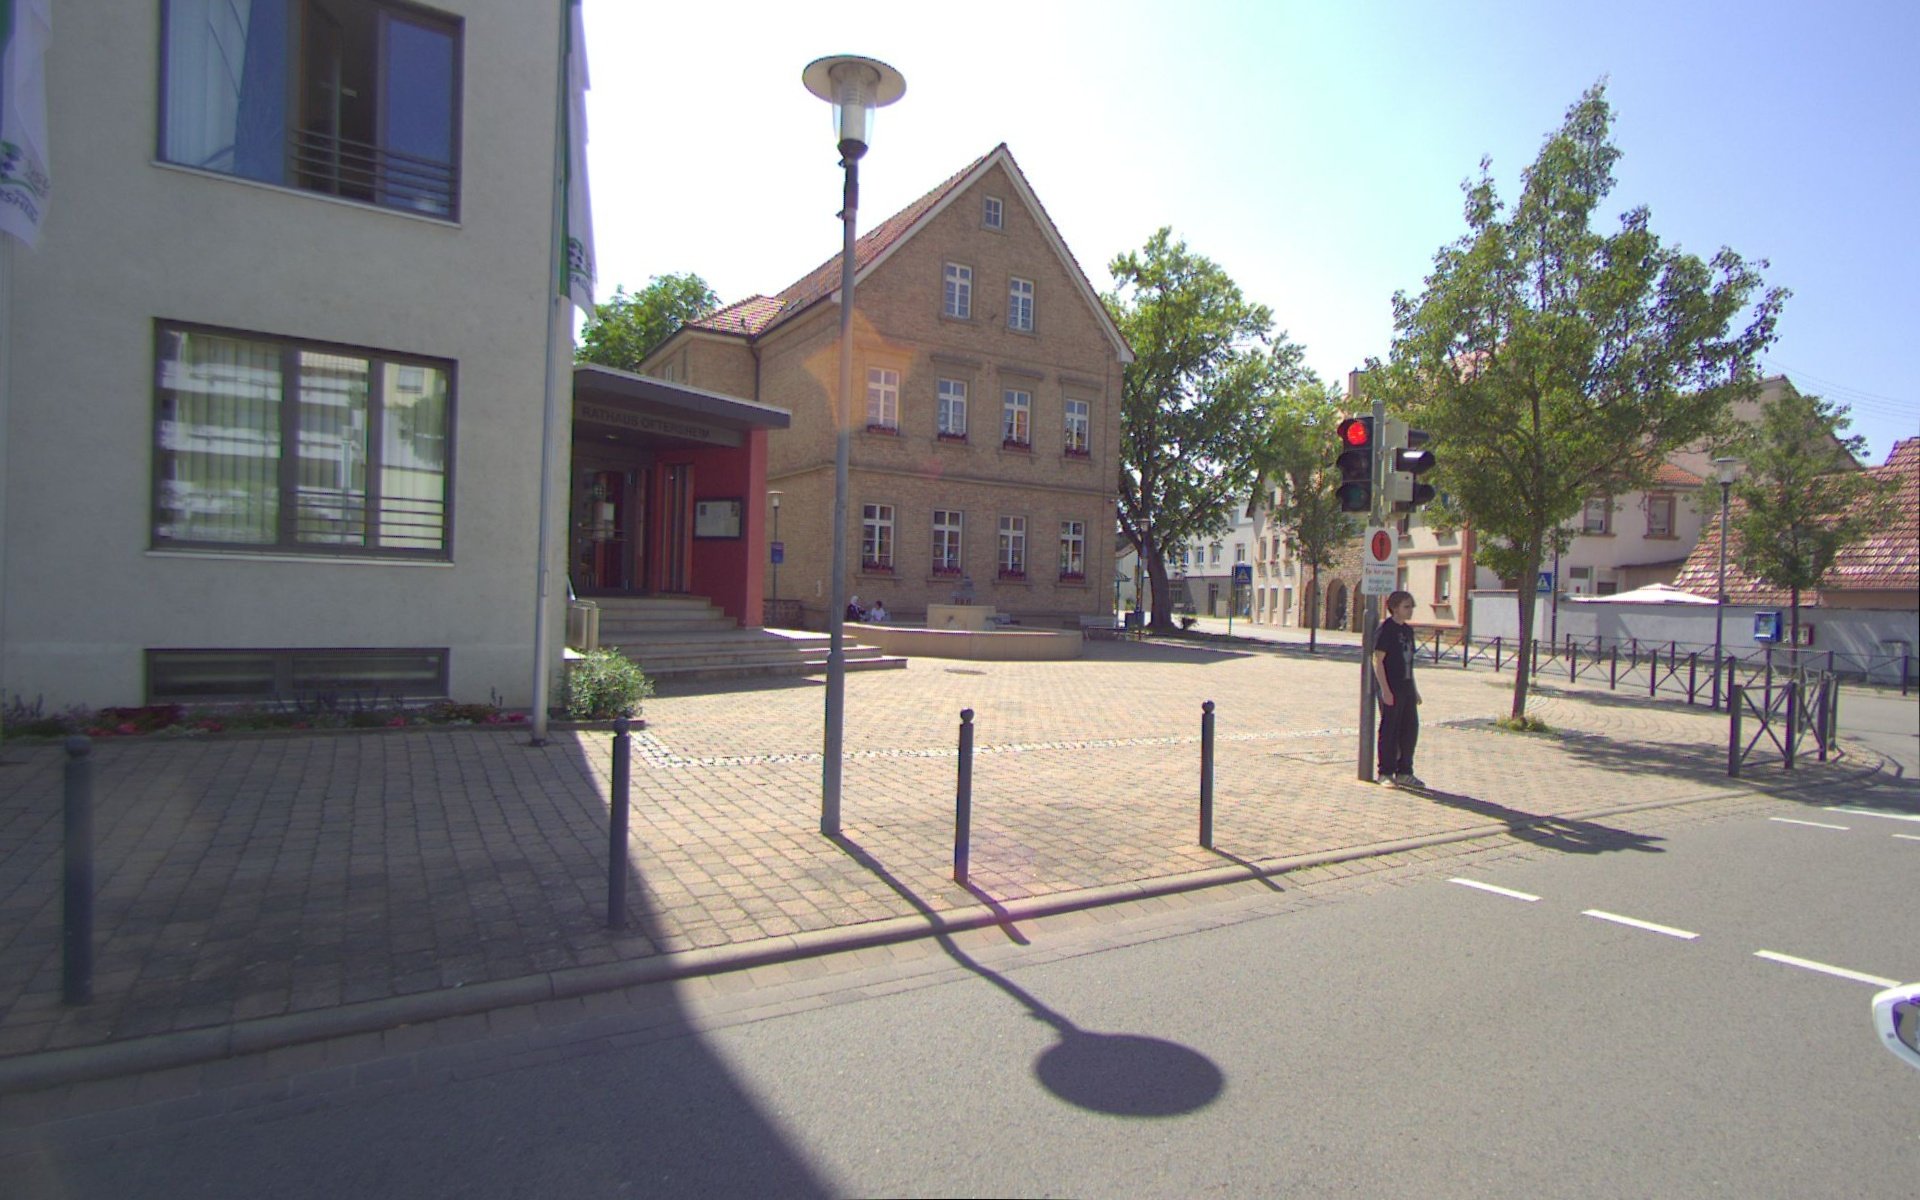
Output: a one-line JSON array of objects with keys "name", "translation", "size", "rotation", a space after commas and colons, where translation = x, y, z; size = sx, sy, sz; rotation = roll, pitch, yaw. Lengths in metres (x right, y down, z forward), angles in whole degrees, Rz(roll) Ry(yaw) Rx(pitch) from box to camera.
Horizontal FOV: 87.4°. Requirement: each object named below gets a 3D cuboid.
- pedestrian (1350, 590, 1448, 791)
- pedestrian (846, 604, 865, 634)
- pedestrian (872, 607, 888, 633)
[{"name": "pedestrian", "translation": [3.752, 0.752, 8.613], "size": [0.546, 1.640, 0.550], "rotation": [3, 0, 4]}, {"name": "pedestrian", "translation": [-2.951, 0.545, 28.387], "size": [0.356, 0.828, 0.365], "rotation": [2, 0, 42]}, {"name": "pedestrian", "translation": [-2.297, 0.581, 28.882], "size": [0.352, 0.742, 0.288], "rotation": [2, 0, 43]}]
